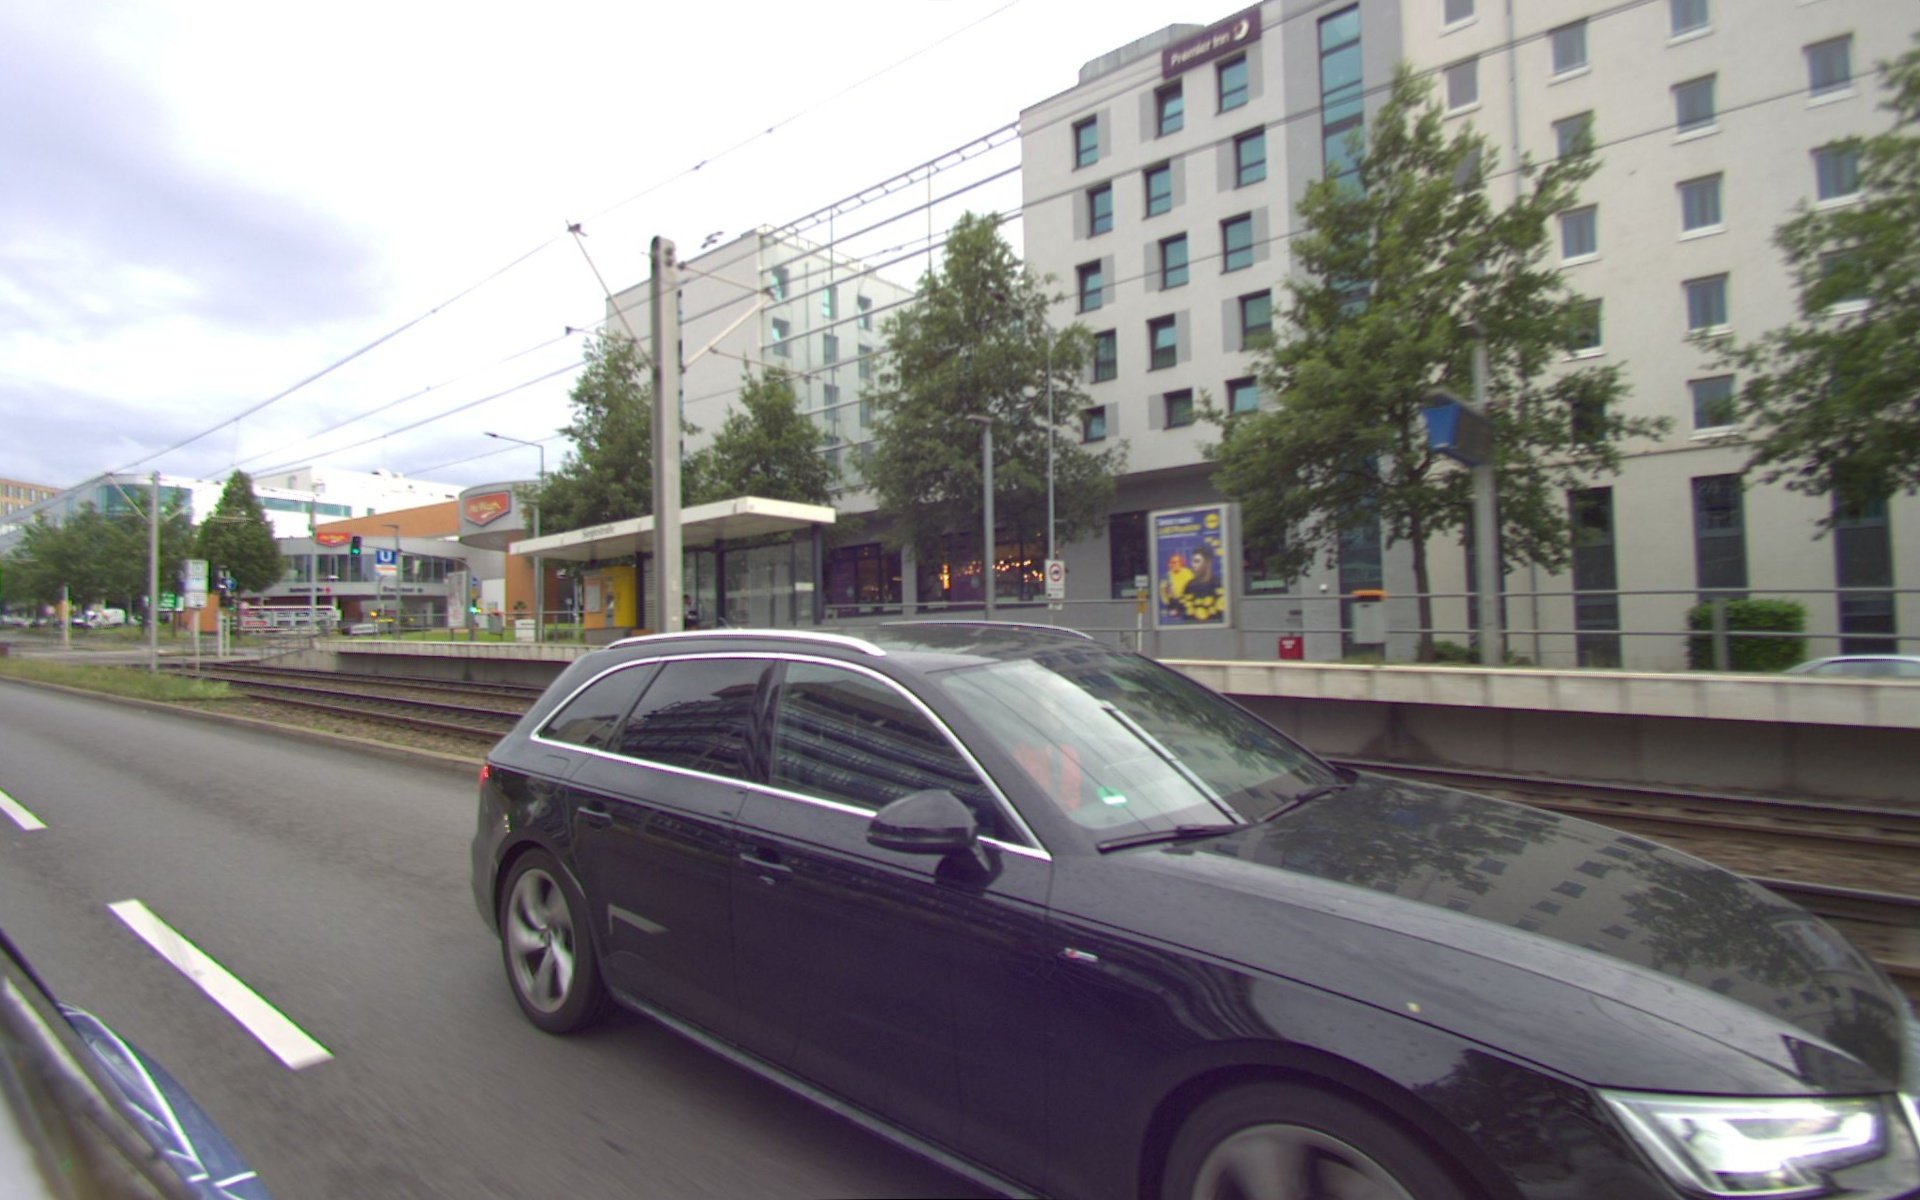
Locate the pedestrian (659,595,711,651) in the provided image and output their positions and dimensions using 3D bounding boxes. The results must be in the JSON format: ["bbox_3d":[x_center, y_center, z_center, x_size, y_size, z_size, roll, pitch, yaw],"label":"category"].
[{"bbox_3d":[-6.501,0.547,23.936,0.684,1.310,0.951,-2,-2,40],"label":"pedestrian"}]

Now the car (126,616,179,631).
[{"bbox_3d":[-113.954,3.281,142.912,2.272,1.940,5.425,-1,0,32],"label":"car"}]

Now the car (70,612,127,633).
[{"bbox_3d":[-116.679,3.046,137.169,2.263,2.648,5.447,-1,0,21],"label":"car"}]

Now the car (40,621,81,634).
[{"bbox_3d":[-129.138,3.966,145.308,1.915,1.674,3.958,-1,1,31],"label":"car"}]

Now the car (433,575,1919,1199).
[{"bbox_3d":[0.256,0.731,3.109,4.827,1.445,1.771,-1,-1,42],"label":"car"}]

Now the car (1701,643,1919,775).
[{"bbox_3d":[12.994,1.443,13.674,4.656,1.665,1.875,-1,-3,42],"label":"car"}]
